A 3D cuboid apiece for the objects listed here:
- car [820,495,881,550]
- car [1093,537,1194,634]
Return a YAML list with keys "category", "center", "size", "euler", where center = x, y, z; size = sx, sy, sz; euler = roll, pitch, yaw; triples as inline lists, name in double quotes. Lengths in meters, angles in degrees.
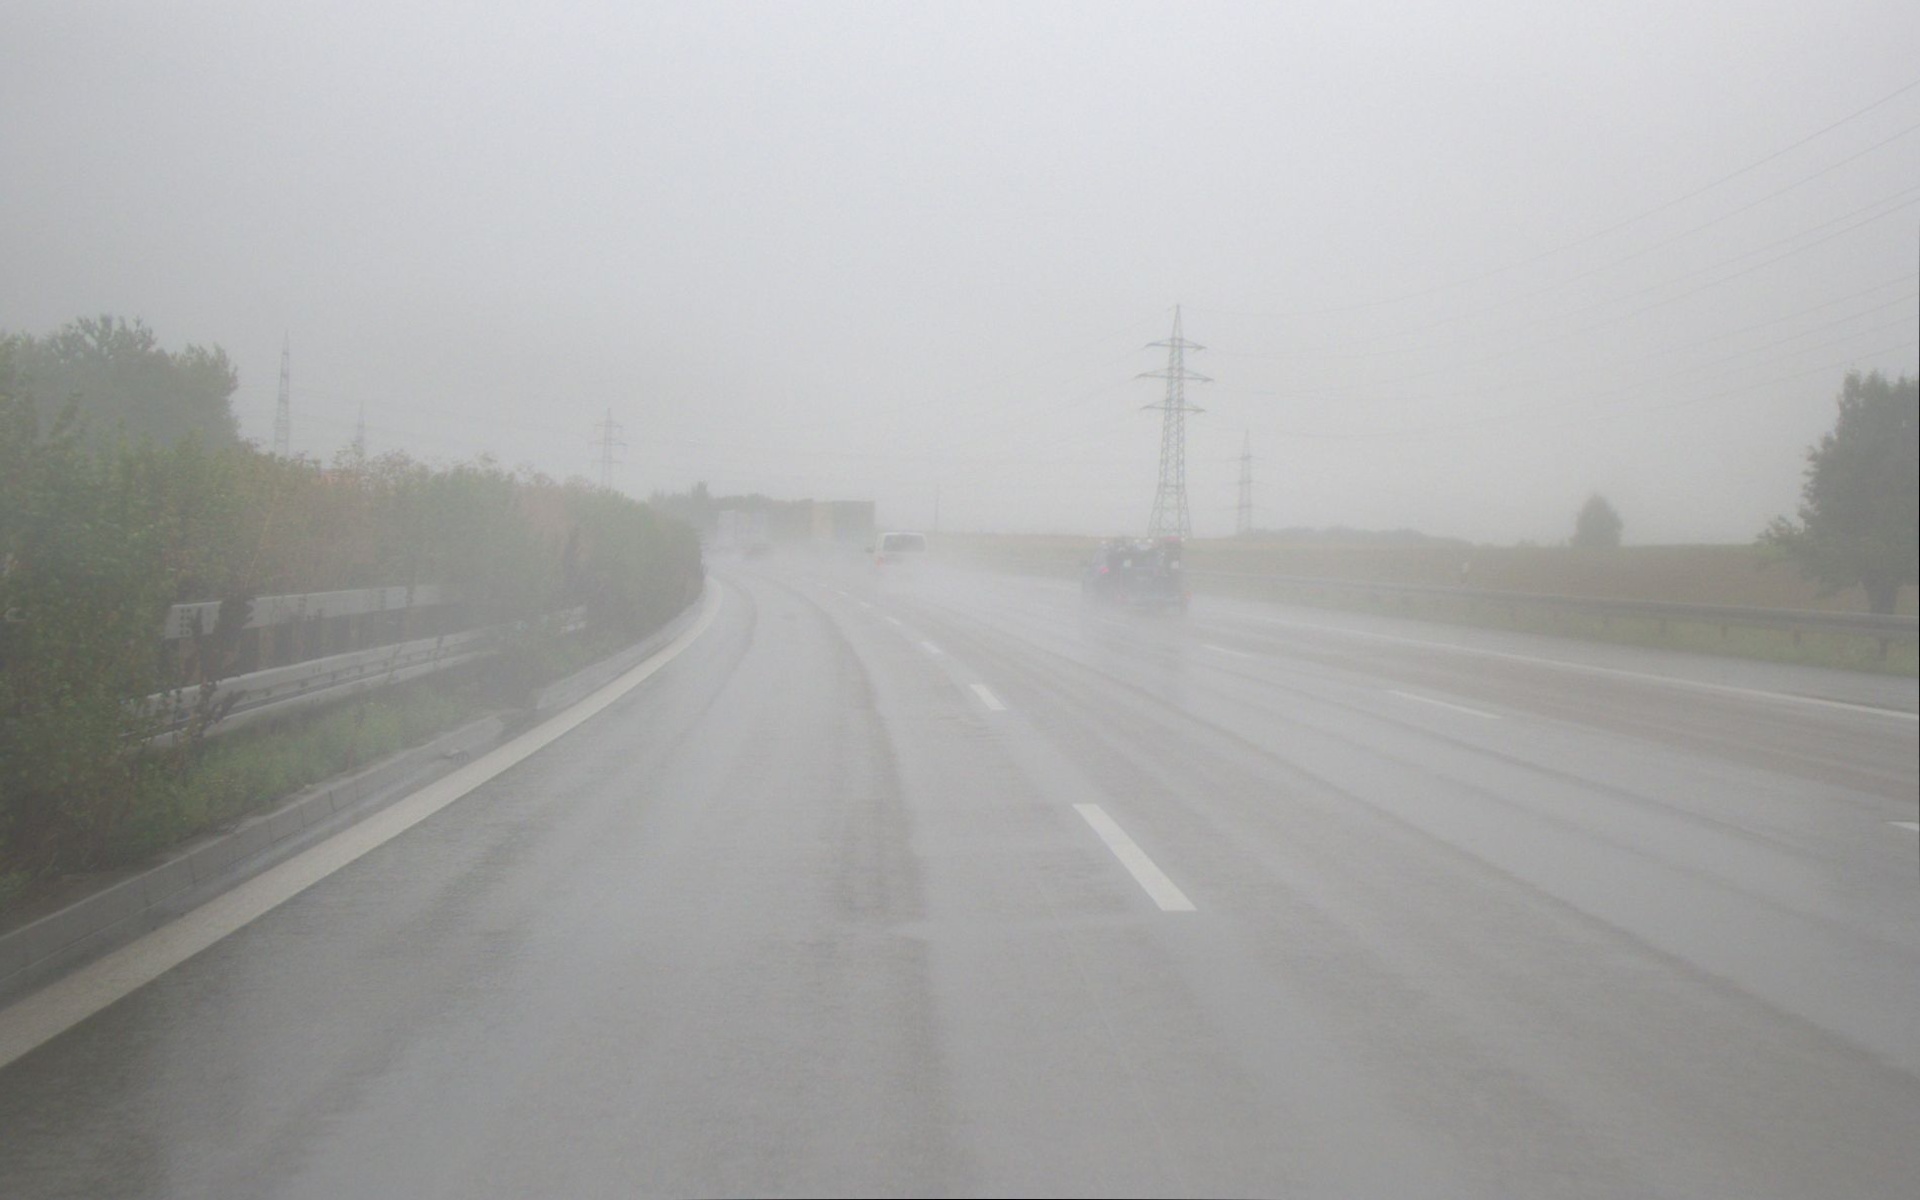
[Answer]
- category: "car"
  center: [-6.683, -4.710, 209.531]
  size: [3.199, 3.182, 7.258]
  euler: [1, 1, -6]
- category: "car"
  center: [4.219, -0.363, 79.549]
  size: [1.807, 2.151, 4.001]
  euler: [1, 1, -4]
